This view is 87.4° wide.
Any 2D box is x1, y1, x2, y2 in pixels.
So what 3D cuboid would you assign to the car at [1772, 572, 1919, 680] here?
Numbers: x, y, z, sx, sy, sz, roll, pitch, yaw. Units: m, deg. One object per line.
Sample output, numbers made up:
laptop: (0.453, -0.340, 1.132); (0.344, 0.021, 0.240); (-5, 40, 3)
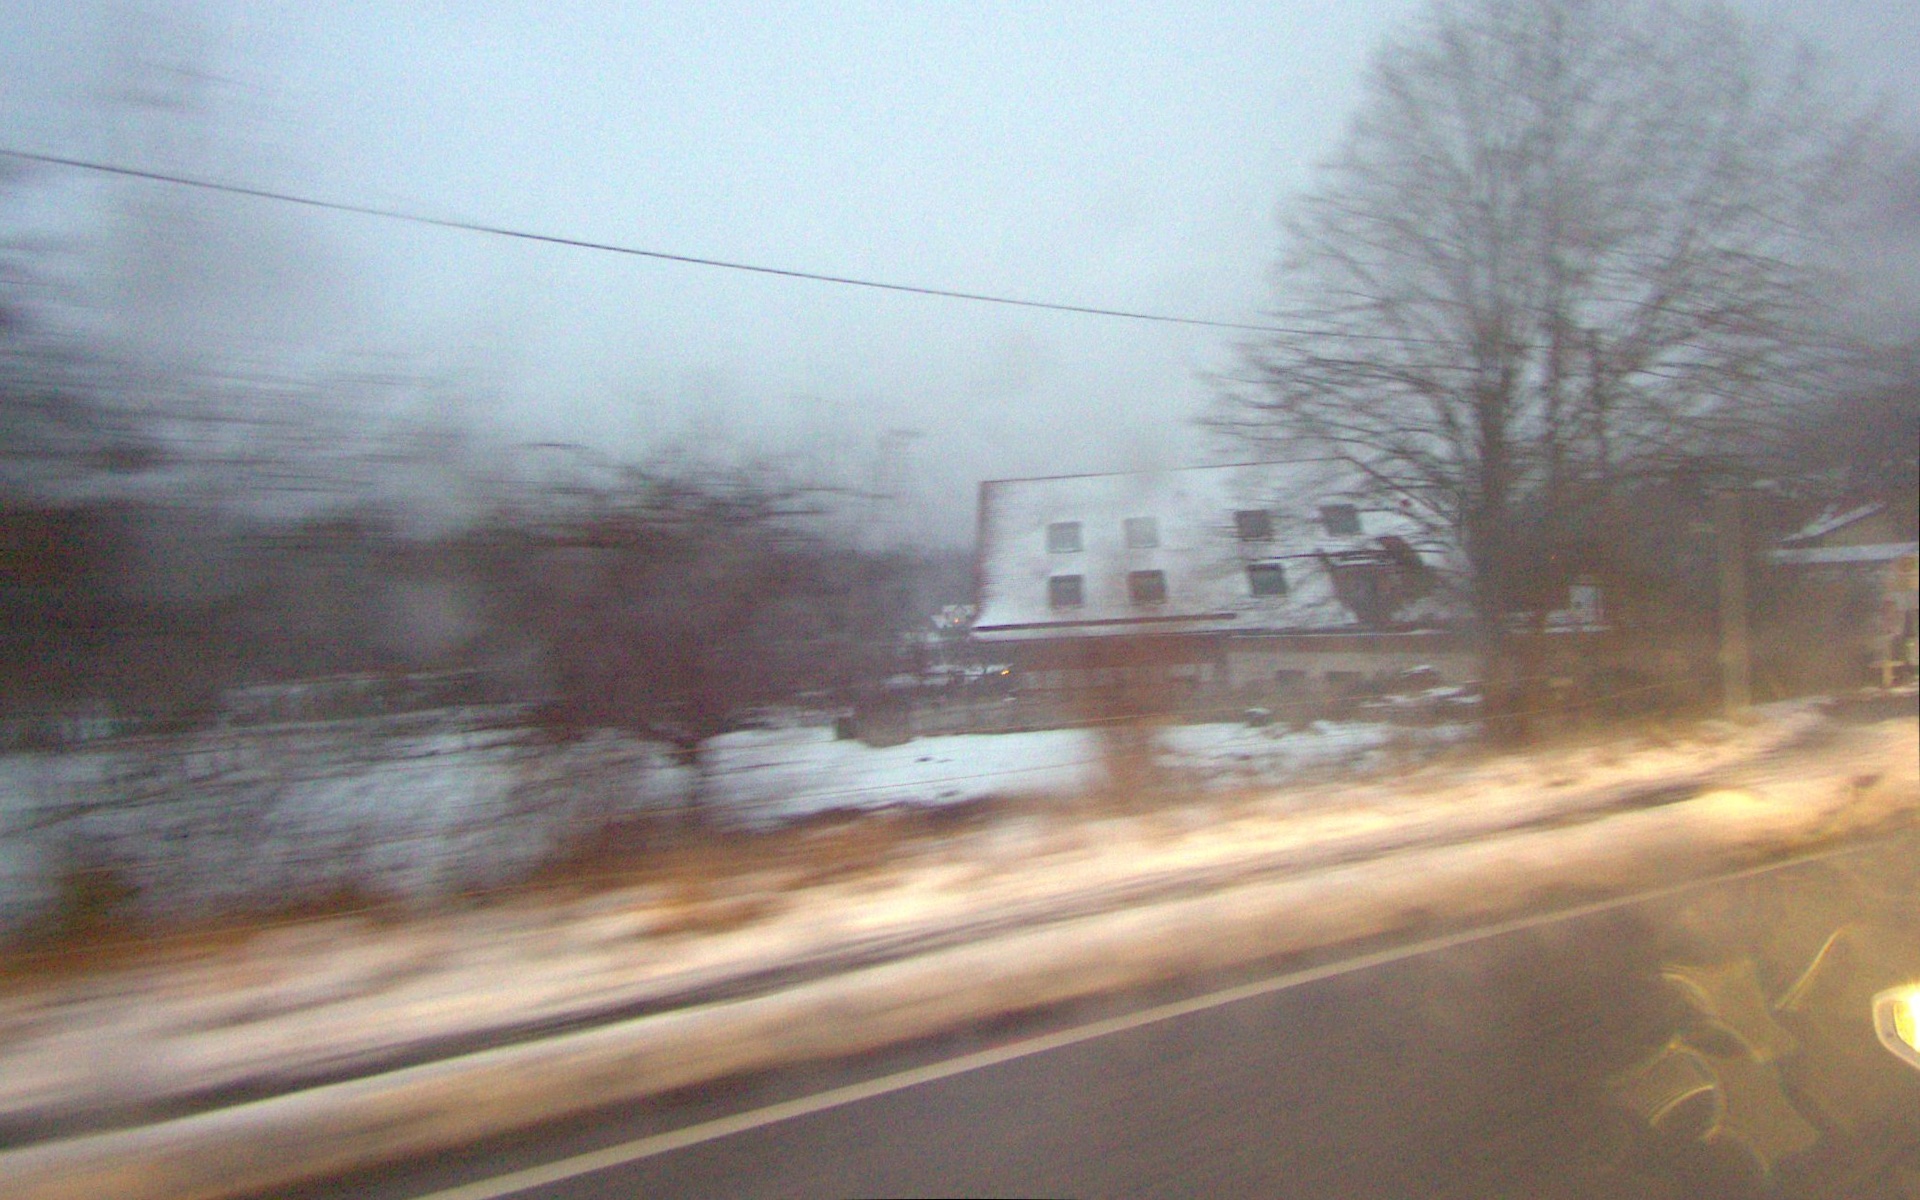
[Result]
car: (24.550, 0.678, 26.896); (6.157, 2.605, 2.457); (1, -1, -31)
